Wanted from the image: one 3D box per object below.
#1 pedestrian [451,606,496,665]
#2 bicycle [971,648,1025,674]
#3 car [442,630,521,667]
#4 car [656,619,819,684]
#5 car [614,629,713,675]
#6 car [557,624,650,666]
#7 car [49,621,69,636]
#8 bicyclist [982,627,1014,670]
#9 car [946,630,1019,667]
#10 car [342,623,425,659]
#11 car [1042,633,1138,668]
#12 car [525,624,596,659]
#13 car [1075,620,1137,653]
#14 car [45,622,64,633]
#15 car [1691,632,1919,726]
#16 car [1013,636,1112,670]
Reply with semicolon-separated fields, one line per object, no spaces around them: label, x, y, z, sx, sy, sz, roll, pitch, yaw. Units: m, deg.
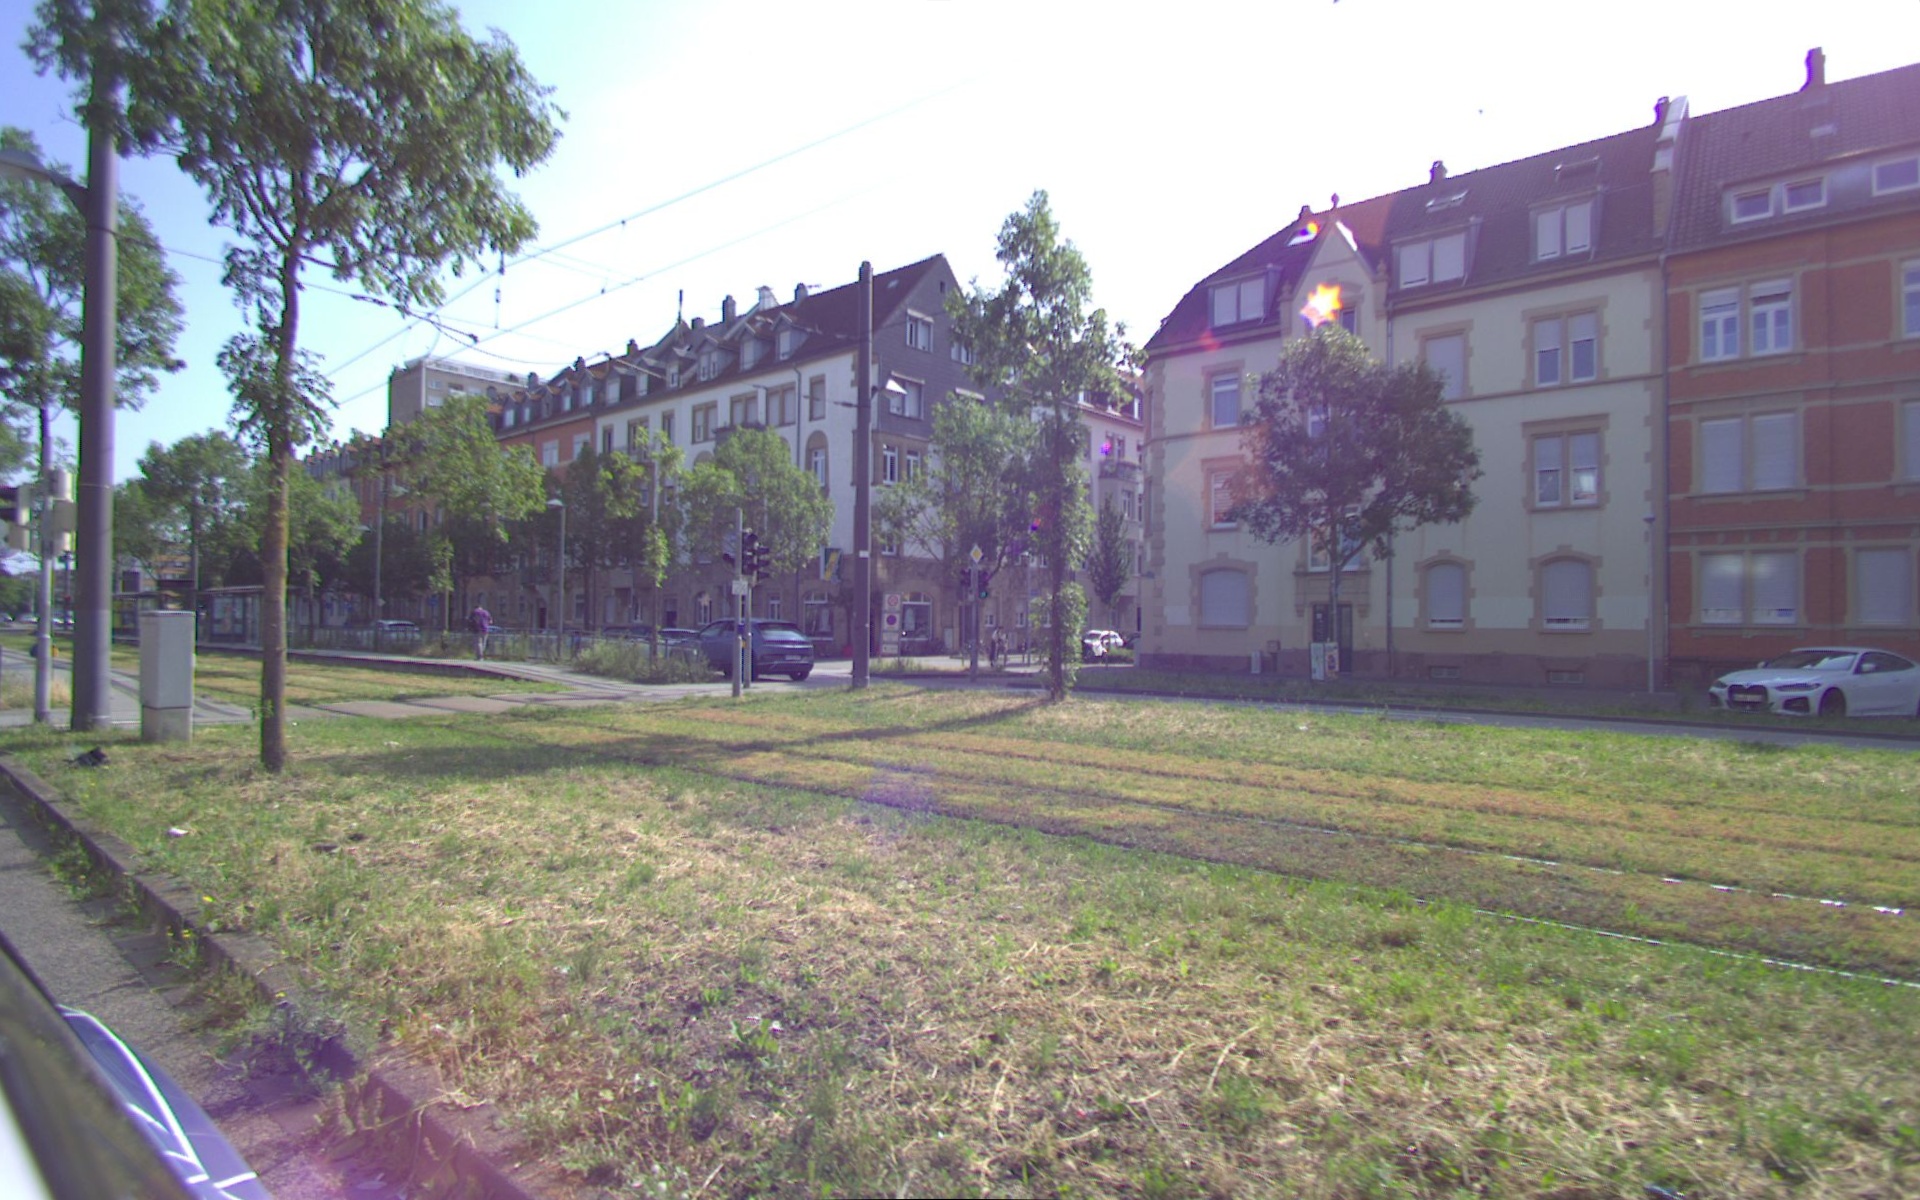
pedestrian;-14.156;1.026;29.439;0.852;1.667;0.874;-1;-2;41
bicycle;1.475;2.349;39.199;2.019;0.872;0.846;0;1;43
car;-21.066;2.109;44.485;3.998;1.526;1.650;0;-2;41
car;-5.920;1.307;26.627;4.574;1.544;1.815;0;-2;41
car;-12.654;2.212;43.376;3.933;1.739;2.006;-1;1;-14
car;-16.697;2.076;47.544;3.933;1.739;2.006;-1;1;-14
car;-118.344;3.762;132.909;1.675;1.811;4.009;-1;1;-37
bicyclist;1.481;1.860;39.195;0.902;1.570;0.837;0;1;43
car;1.175;2.433;51.304;1.604;1.595;3.774;0;1;42
car;-25.401;1.776;44.521;4.422;1.451;1.753;0;-3;41
car;5.703;2.191;44.679;3.998;1.423;1.650;0;-2;41
car;-21.180;2.160;53.543;3.998;1.632;1.882;0;1;41
car;8.600;2.112;59.367;1.727;1.707;3.945;0;1;42
car;-134.927;4.044;150.823;3.998;1.526;1.650;0;-2;41
car;16.089;1.435;18.501;4.695;1.496;2.029;2;-1;-18
car;4.357;2.251;43.420;3.998;1.309;1.650;0;-2;41
